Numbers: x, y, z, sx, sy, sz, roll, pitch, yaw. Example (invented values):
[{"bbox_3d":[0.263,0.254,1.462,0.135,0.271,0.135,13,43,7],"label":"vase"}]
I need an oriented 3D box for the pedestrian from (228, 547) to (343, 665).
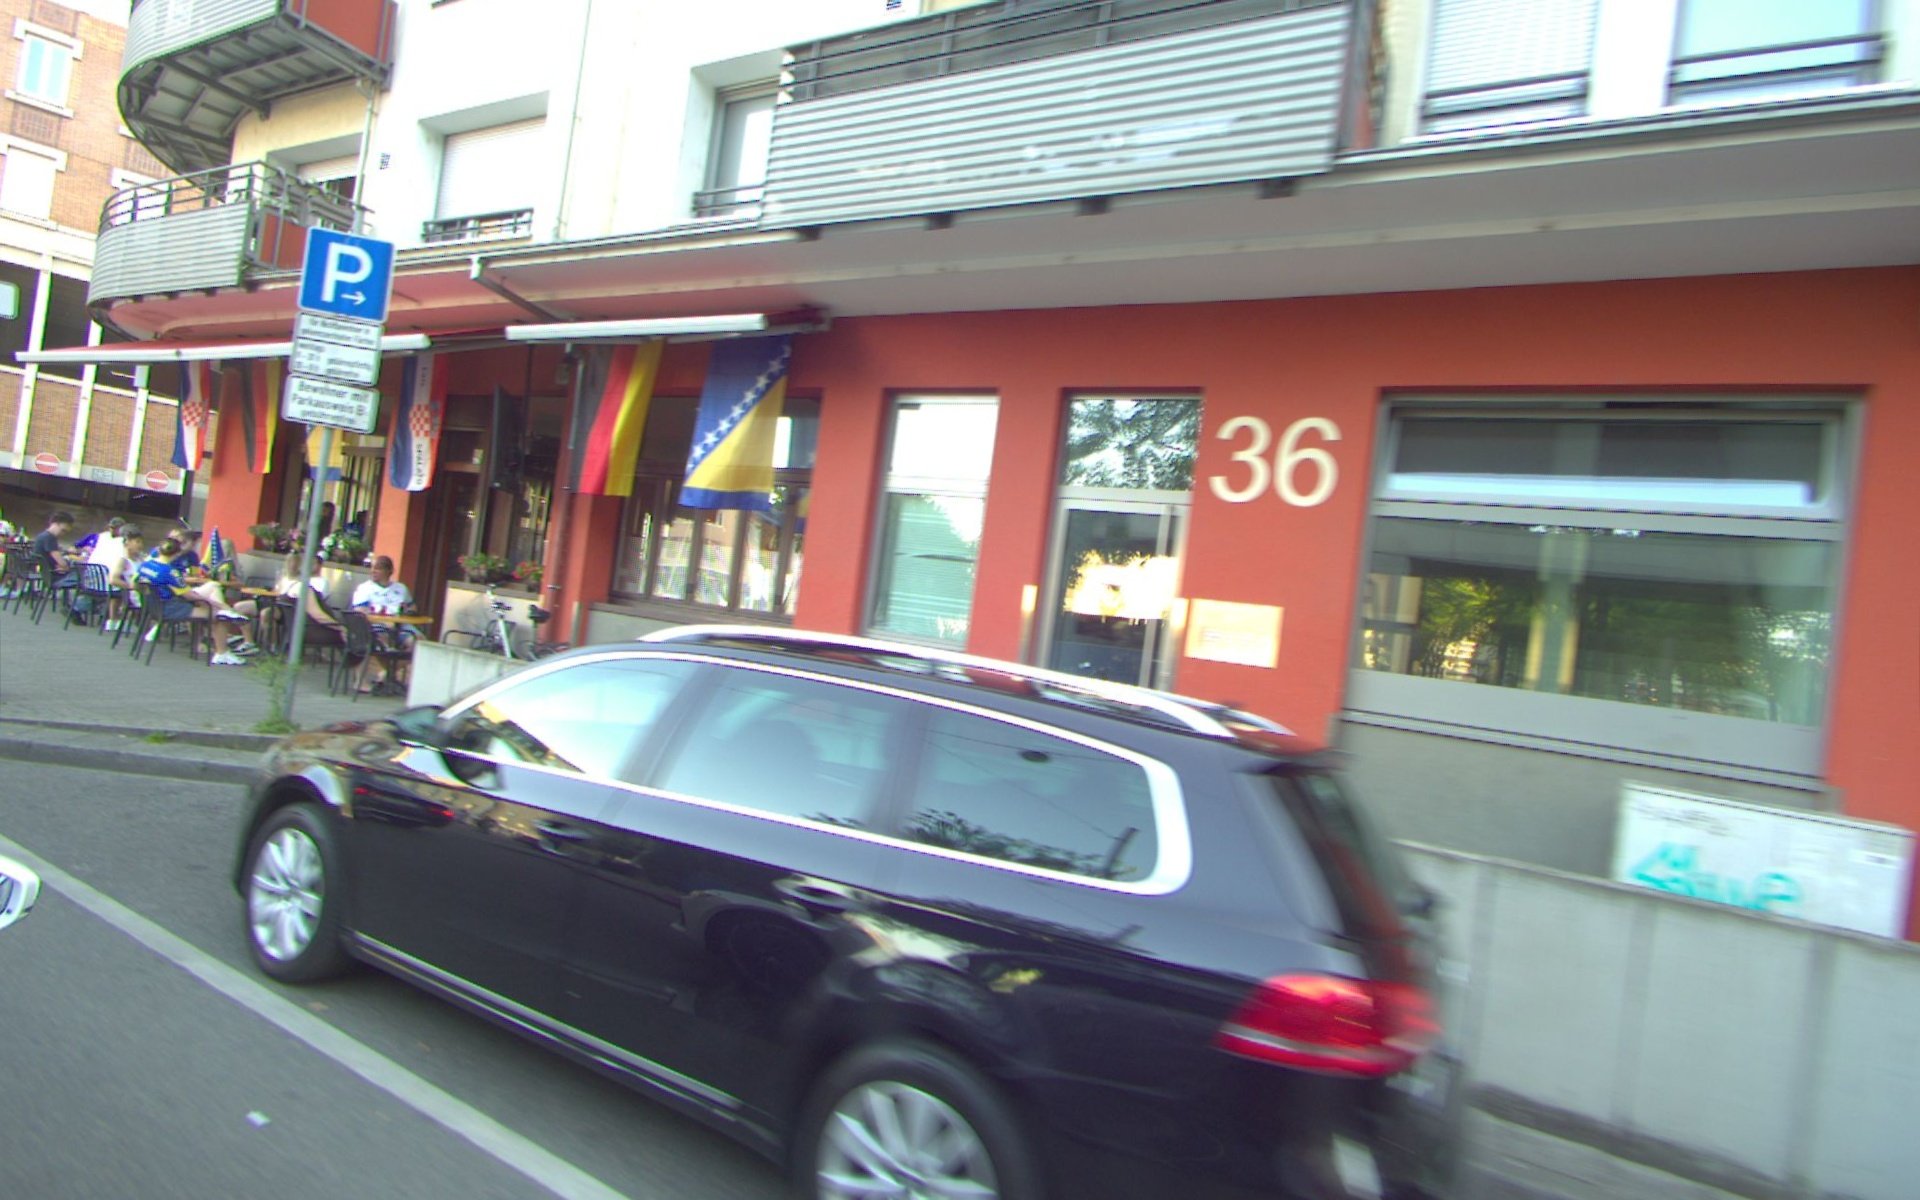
[{"bbox_3d":[-7.667,0.077,11.440,0.702,1.239,0.780,7,2,30],"label":"pedestrian"}]

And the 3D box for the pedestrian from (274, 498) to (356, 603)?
[{"bbox_3d":[-10.993,-0.825,17.157,0.675,1.625,0.716,8,-2,3],"label":"pedestrian"}]

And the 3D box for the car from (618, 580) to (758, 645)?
[{"bbox_3d":[-9.331,0.449,34.718,4.170,1.643,1.779,9,-3,-42],"label":"car"}]

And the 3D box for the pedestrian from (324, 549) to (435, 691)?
[{"bbox_3d":[-5.988,0.214,10.392,0.684,1.364,0.607,7,0,29],"label":"pedestrian"}]

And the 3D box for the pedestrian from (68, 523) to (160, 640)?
[{"bbox_3d":[-10.004,-0.218,11.914,0.502,1.293,0.627,6,2,-7],"label":"pedestrian"}]

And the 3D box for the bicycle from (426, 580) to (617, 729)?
[{"bbox_3d":[-4.054,0.479,9.270,1.712,1.168,0.536,5,-1,26],"label":"bicycle"}]

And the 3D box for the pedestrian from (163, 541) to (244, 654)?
[{"bbox_3d":[-8.629,-0.027,11.486,0.529,1.217,0.417,6,2,-13],"label":"pedestrian"}]

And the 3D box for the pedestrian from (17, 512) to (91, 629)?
[{"bbox_3d":[-10.782,-0.344,11.975,0.411,1.320,0.491,7,2,30],"label":"pedestrian"}]

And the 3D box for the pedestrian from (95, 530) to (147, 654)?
[{"bbox_3d":[-8.957,-0.088,10.749,0.341,1.273,0.356,5,2,-38],"label":"pedestrian"}]

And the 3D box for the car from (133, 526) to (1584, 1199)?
[{"bbox_3d":[-0.695,0.834,3.555,4.709,1.518,1.771,7,-4,30],"label":"car"}]

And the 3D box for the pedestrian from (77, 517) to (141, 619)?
[{"bbox_3d":[-11.522,-0.436,13.615,0.514,1.292,0.489,7,0,43],"label":"pedestrian"}]

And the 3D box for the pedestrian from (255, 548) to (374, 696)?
[{"bbox_3d":[-6.099,0.216,9.510,0.600,1.302,0.686,7,0,39],"label":"pedestrian"}]

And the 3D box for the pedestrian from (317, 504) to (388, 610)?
[{"bbox_3d":[-10.073,-0.707,16.703,0.598,1.625,0.534,8,-2,9],"label":"pedestrian"}]

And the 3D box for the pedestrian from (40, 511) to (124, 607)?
[{"bbox_3d":[-12.895,-0.593,14.800,0.611,1.294,0.697,8,0,-23],"label":"pedestrian"}]

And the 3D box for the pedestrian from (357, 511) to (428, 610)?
[{"bbox_3d":[-10.118,-0.680,17.961,0.704,1.625,0.687,9,-2,-12],"label":"pedestrian"}]

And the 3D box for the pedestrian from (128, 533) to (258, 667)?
[{"bbox_3d":[-7.761,0.016,10.203,0.483,1.273,0.859,7,2,30],"label":"pedestrian"}]

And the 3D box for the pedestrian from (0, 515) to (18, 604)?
[{"bbox_3d":[-13.240,-0.598,13.347,0.609,1.163,0.890,7,-1,37],"label":"pedestrian"}]

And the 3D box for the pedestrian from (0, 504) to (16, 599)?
[{"bbox_3d":[-13.674,-0.723,13.970,0.649,1.299,0.617,7,0,38],"label":"pedestrian"}]

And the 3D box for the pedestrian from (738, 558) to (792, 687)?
[{"bbox_3d":[-2.638,0.313,13.640,0.420,1.680,0.431,8,-2,-1],"label":"pedestrian"}]

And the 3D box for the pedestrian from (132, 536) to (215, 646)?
[{"bbox_3d":[-9.235,-0.103,11.820,0.560,1.217,0.417,6,2,-12],"label":"pedestrian"}]
